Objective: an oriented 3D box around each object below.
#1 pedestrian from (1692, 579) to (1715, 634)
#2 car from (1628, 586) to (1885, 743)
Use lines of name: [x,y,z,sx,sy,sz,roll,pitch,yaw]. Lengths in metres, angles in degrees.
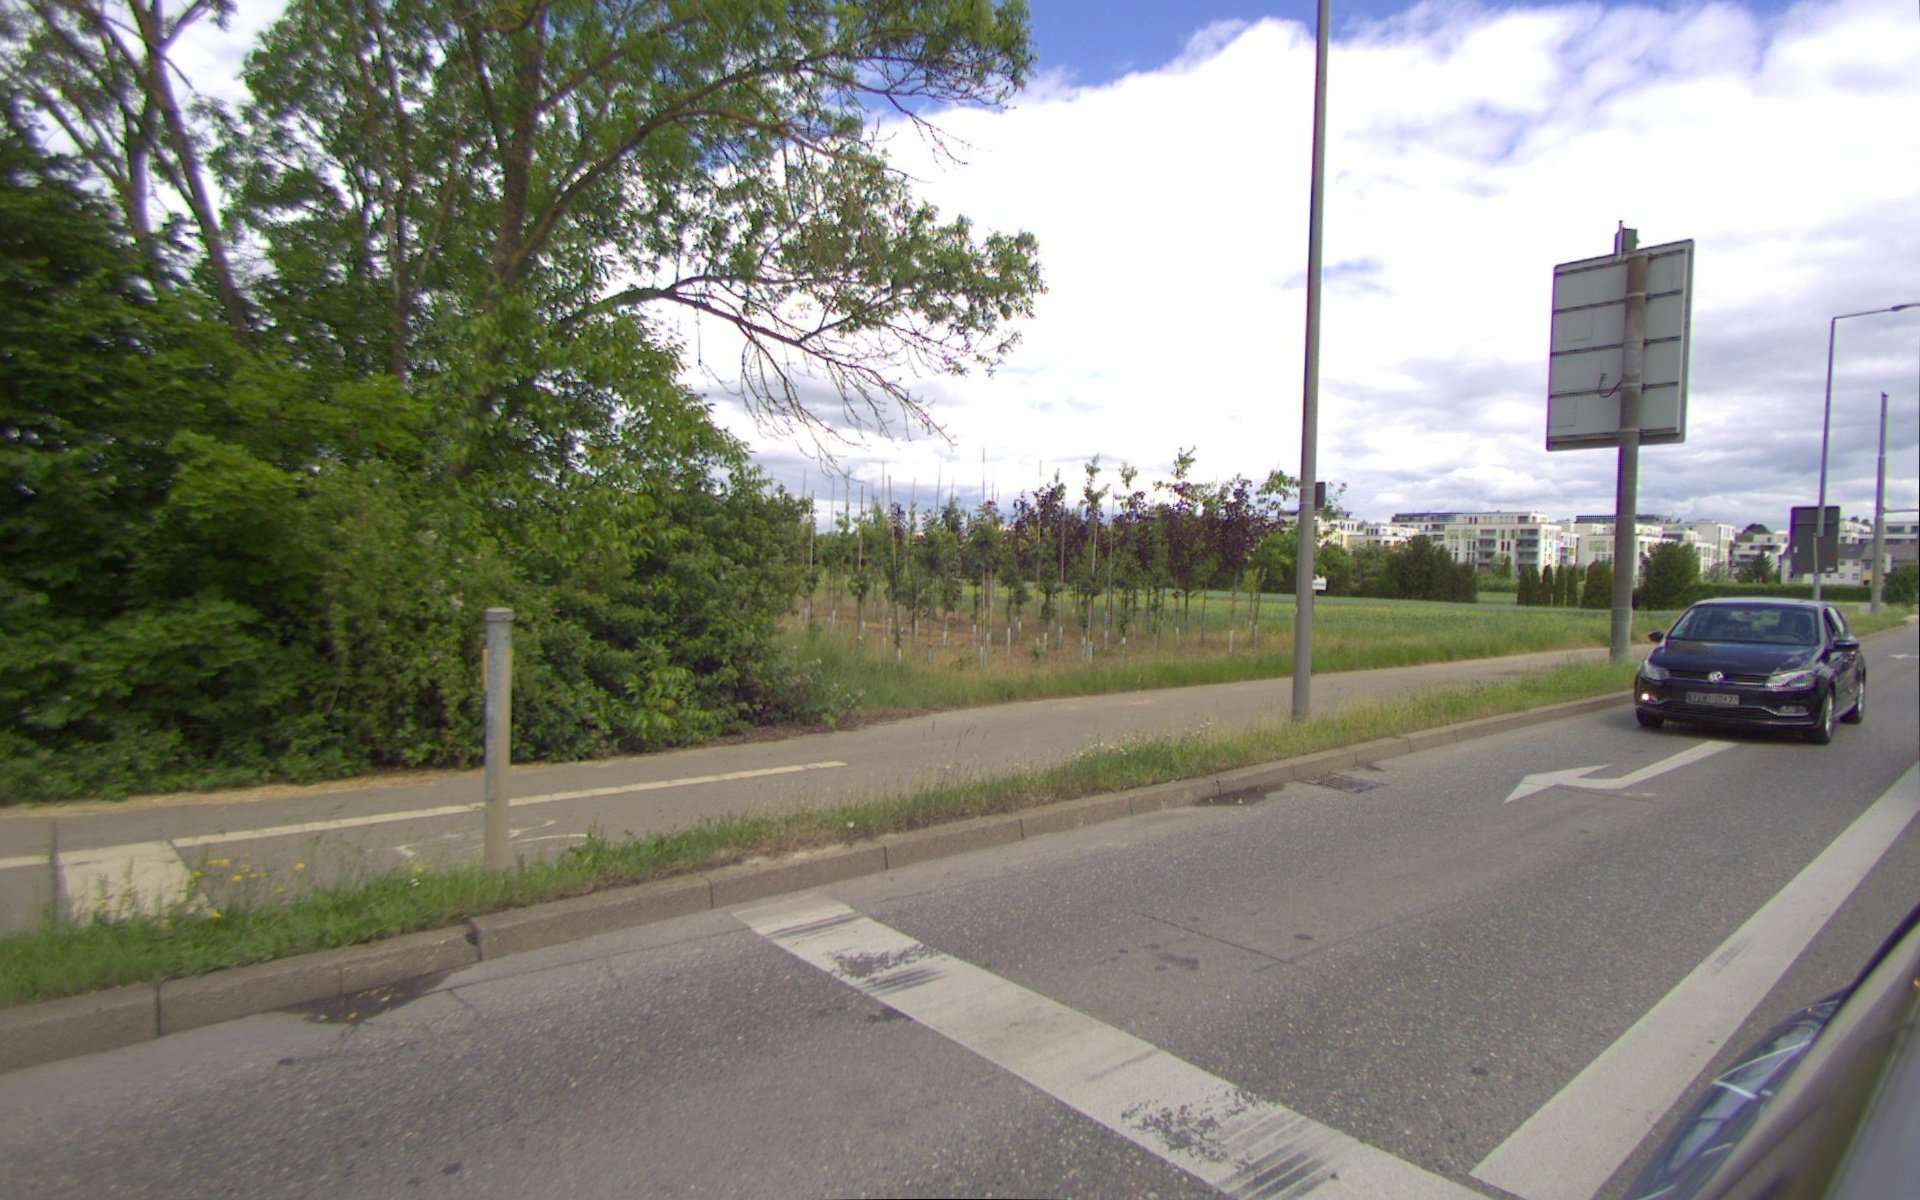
pedestrian: [23.446,0.189,31.915,0.615,1.724,0.492,-1,0,-43]
car: [9.059,0.581,11.414,3.676,1.436,1.681,-1,2,-42]
